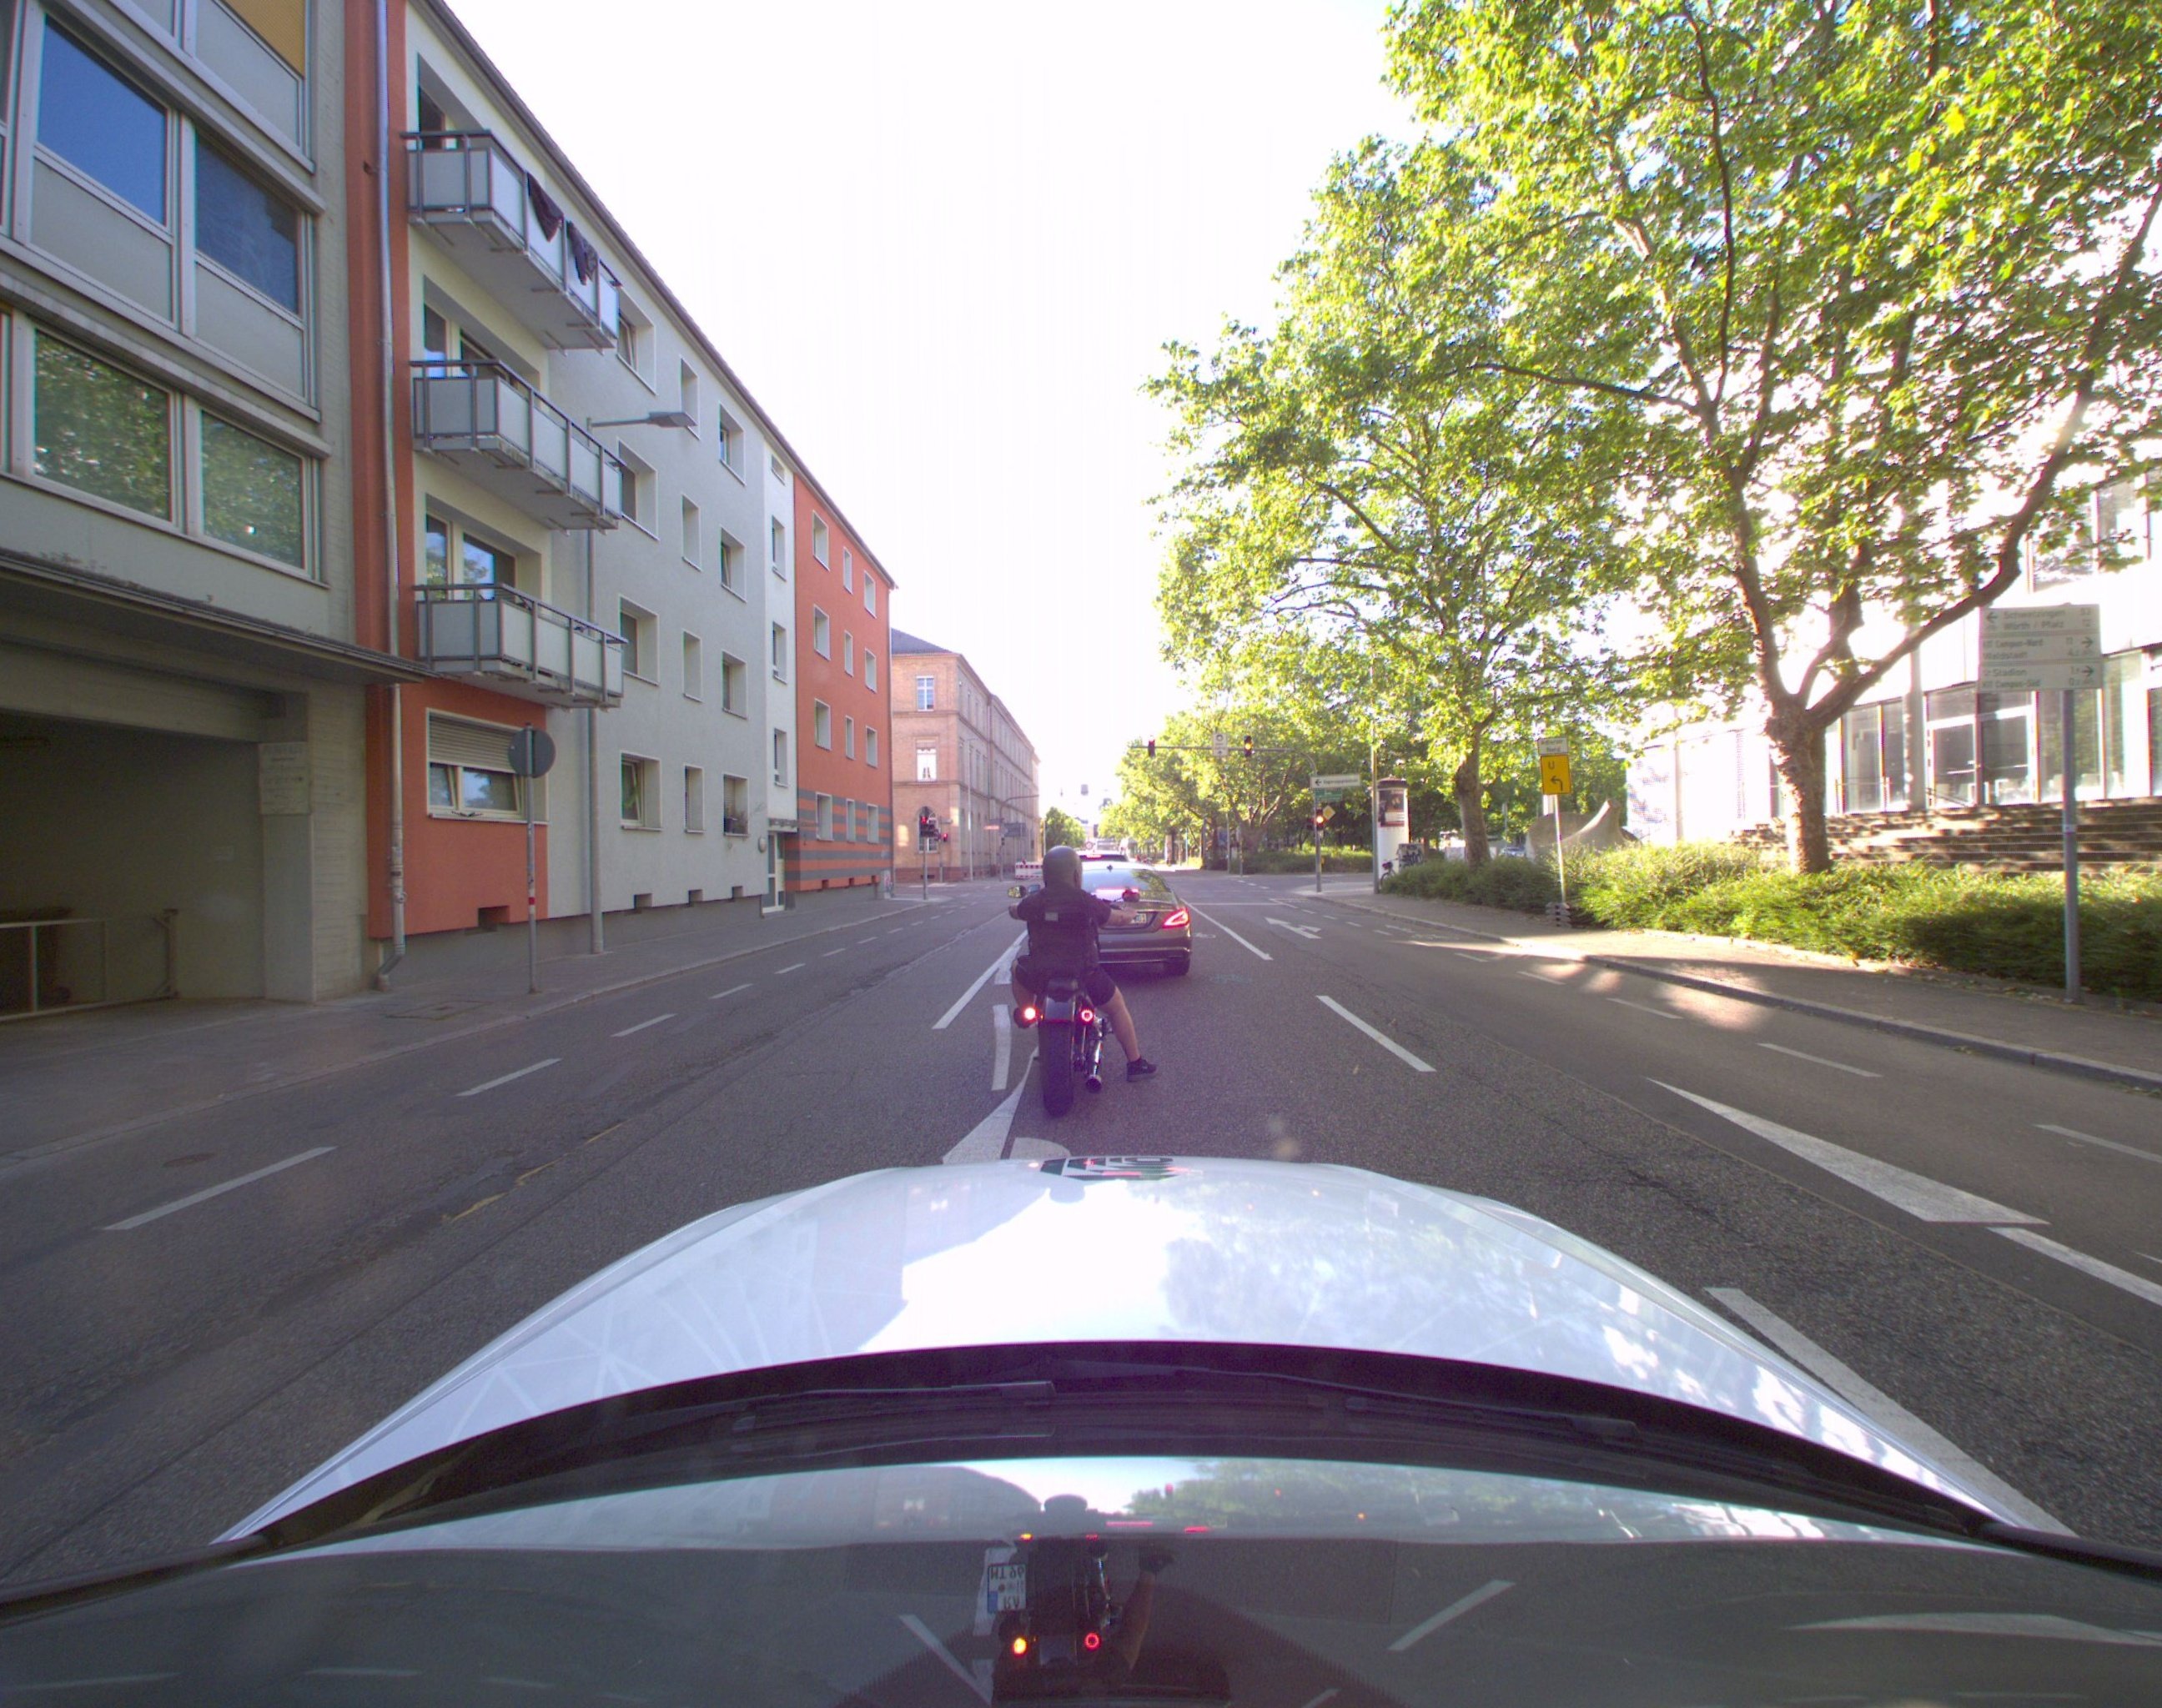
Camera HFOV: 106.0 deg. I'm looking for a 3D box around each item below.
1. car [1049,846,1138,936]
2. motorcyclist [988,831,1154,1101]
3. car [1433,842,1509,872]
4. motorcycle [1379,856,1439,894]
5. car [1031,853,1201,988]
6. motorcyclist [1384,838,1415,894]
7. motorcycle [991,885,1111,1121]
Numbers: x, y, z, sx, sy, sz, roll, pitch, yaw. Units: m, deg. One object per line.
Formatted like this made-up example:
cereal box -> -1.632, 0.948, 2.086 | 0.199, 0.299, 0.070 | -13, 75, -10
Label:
car -> 0.293, 0.697, 17.101 | 1.645, 1.652, 4.002 | 0, -1, 2
motorcyclist -> -0.046, 0.678, 5.454 | 0.986, 1.611, 1.121 | 0, -1, 1
car -> 24.637, 0.202, 51.529 | 3.974, 1.772, 1.738 | -1, 0, -1
motorcycle -> 11.078, 0.714, 27.550 | 1.771, 1.243, 0.724 | -1, -1, 7
car -> 0.268, 0.752, 11.250 | 1.821, 1.486, 4.325 | 0, -1, -5
motorcyclist -> 10.775, 0.396, 27.574 | 0.818, 1.863, 0.673 | -1, -1, 7
motorcycle -> -0.135, 0.865, 5.547 | 0.657, 1.240, 2.058 | 0, -1, 2
